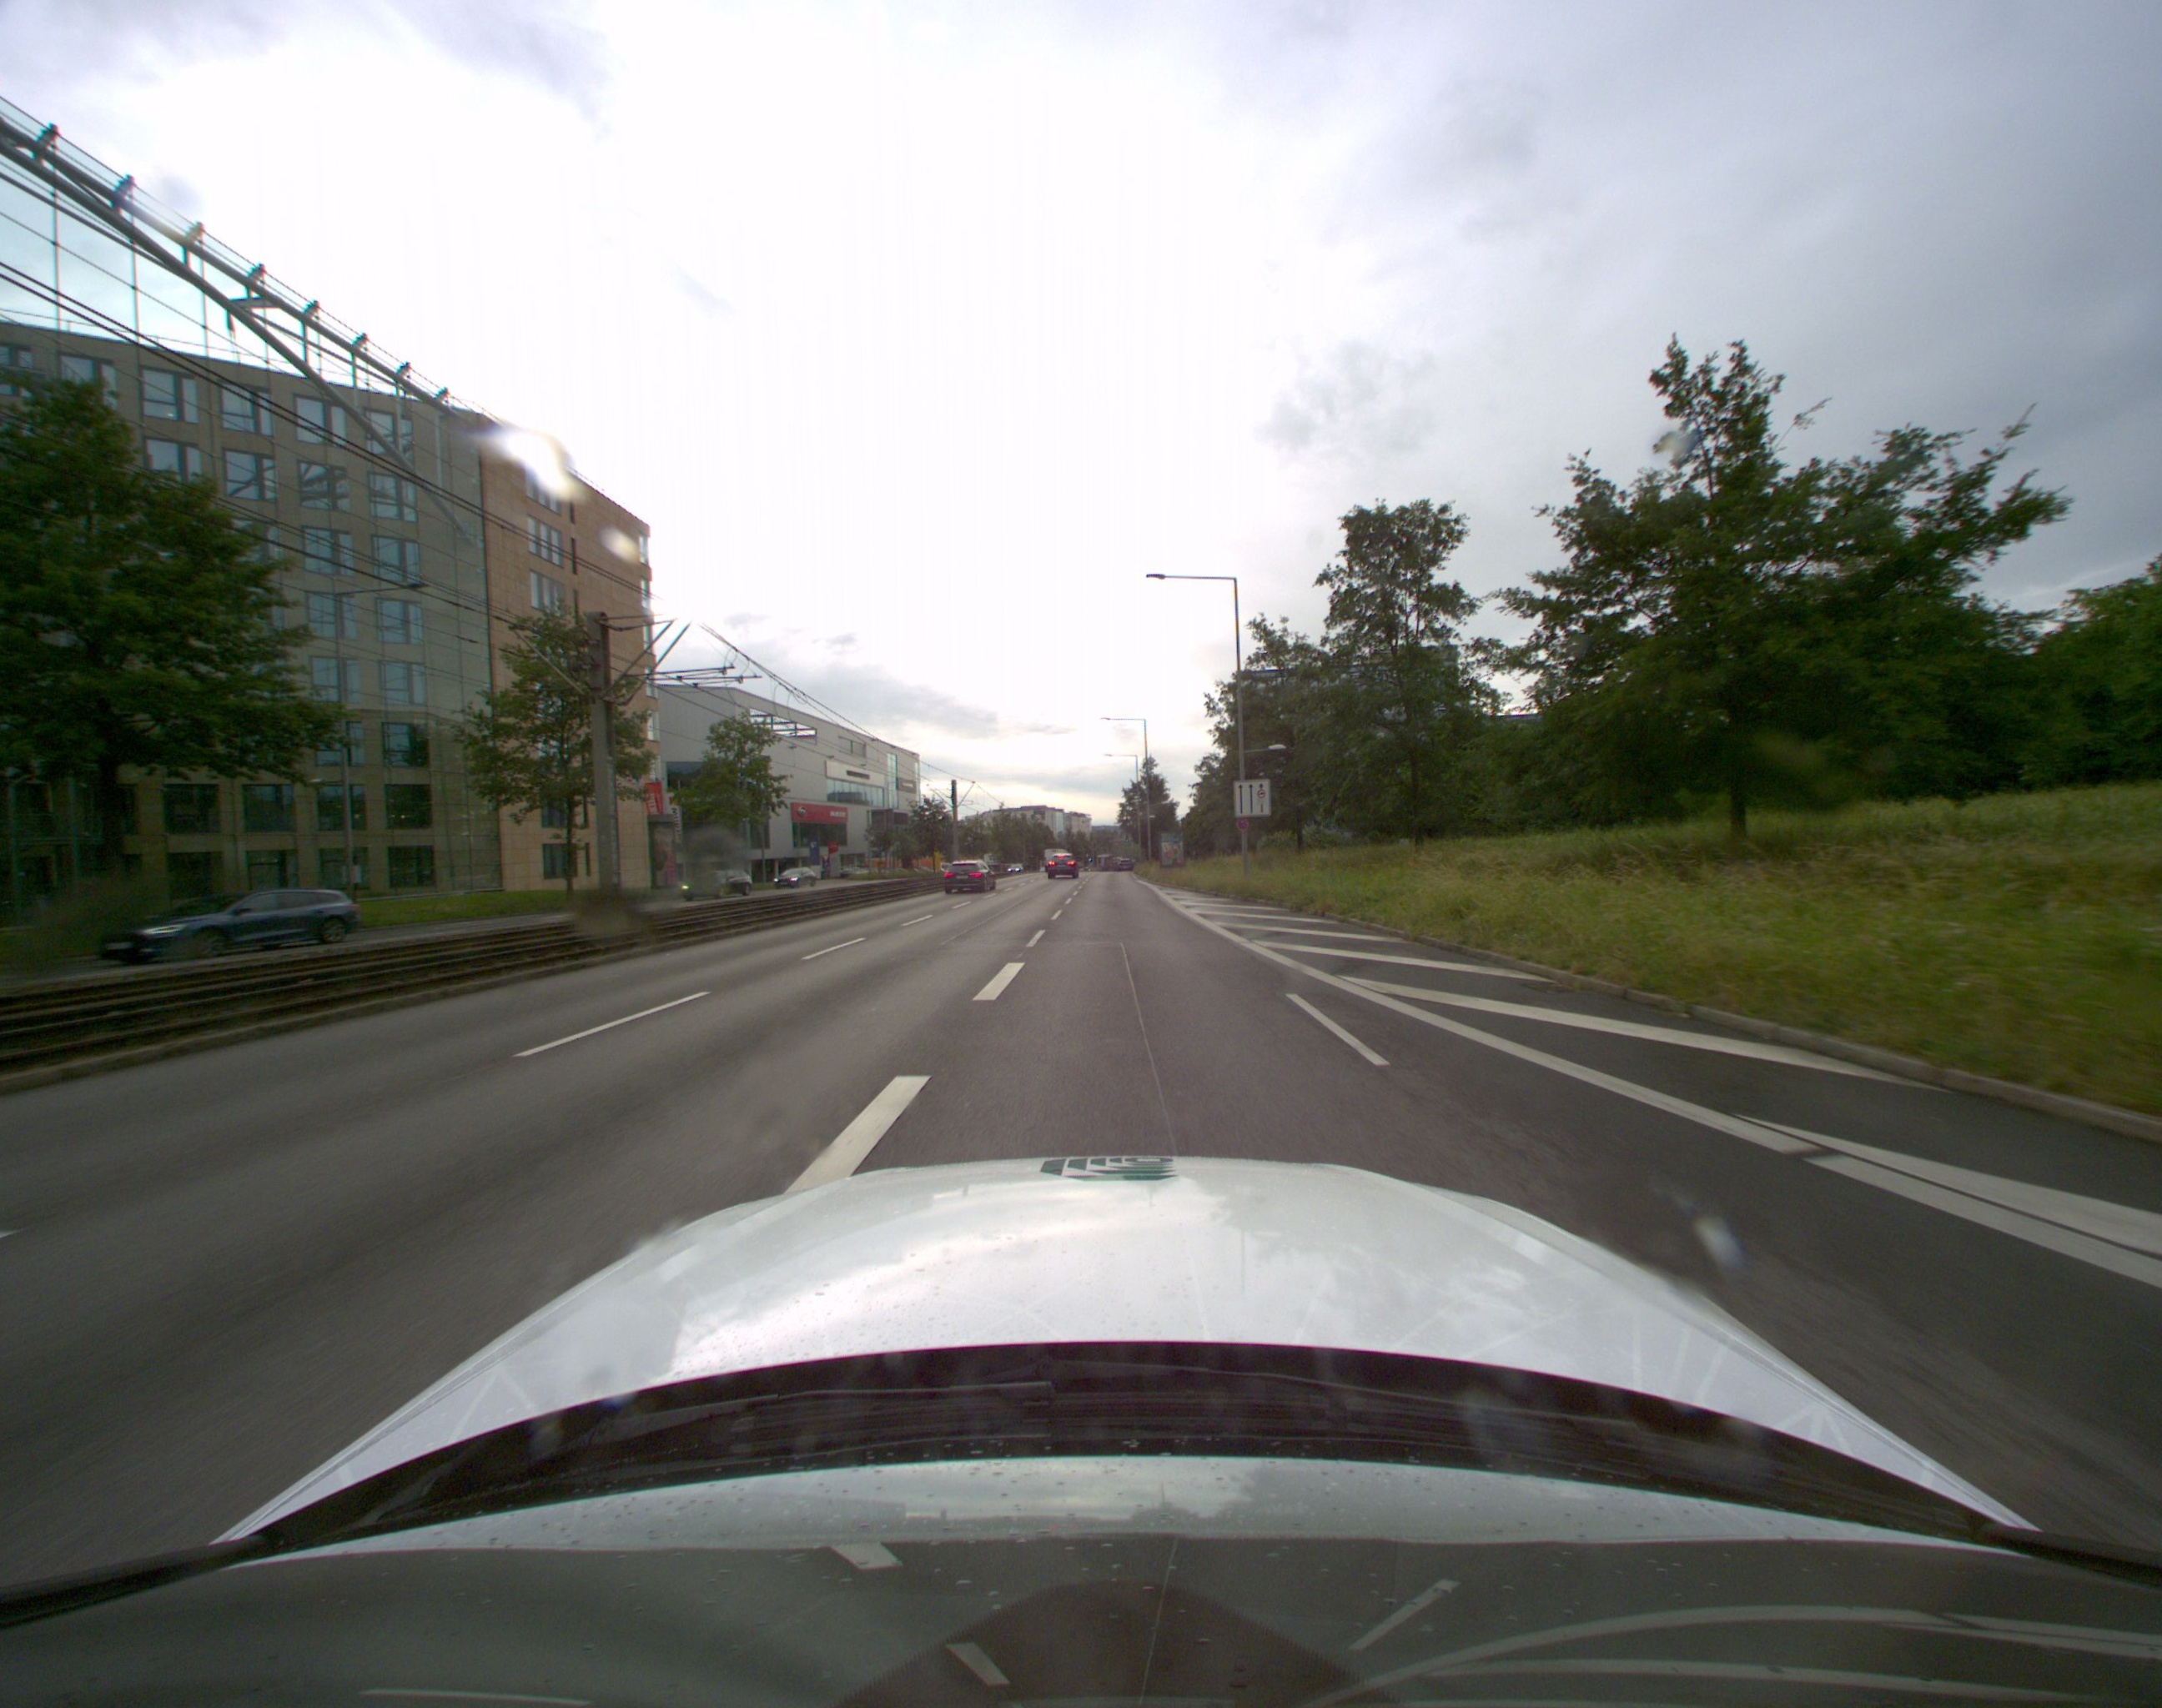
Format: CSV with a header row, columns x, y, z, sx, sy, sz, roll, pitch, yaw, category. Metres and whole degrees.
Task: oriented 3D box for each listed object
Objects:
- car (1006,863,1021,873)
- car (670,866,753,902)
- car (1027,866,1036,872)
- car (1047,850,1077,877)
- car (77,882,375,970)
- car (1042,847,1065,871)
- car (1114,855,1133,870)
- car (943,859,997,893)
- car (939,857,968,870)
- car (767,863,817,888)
x,y,z,sx,sy,sz,roll,pitch,yaw,category
-10.538,2.179,127.208,1.650,1.549,4.006,-1,-2,6,car
-18.580,1.450,41.247,1.834,1.486,4.656,-5,0,2,car
-12.078,3.634,199.902,1.660,1.462,4.243,-1,-2,5,car
-1.260,0.593,54.436,1.917,1.710,4.095,-1,0,-2,car
-19.585,1.554,19.056,1.834,1.486,4.656,-5,0,2,car
-2.707,0.462,81.383,2.261,2.285,4.757,-1,0,-1,car
4.891,0.993,94.623,1.784,1.591,3.997,-3,-1,-2,car
-4.971,0.948,37.064,1.780,1.414,4.805,-1,0,0,car
-23.826,1.829,152.383,5.298,2.313,2.015,0,-2,-8,car
-21.037,1.533,59.483,1.834,1.486,4.432,-5,0,2,car
